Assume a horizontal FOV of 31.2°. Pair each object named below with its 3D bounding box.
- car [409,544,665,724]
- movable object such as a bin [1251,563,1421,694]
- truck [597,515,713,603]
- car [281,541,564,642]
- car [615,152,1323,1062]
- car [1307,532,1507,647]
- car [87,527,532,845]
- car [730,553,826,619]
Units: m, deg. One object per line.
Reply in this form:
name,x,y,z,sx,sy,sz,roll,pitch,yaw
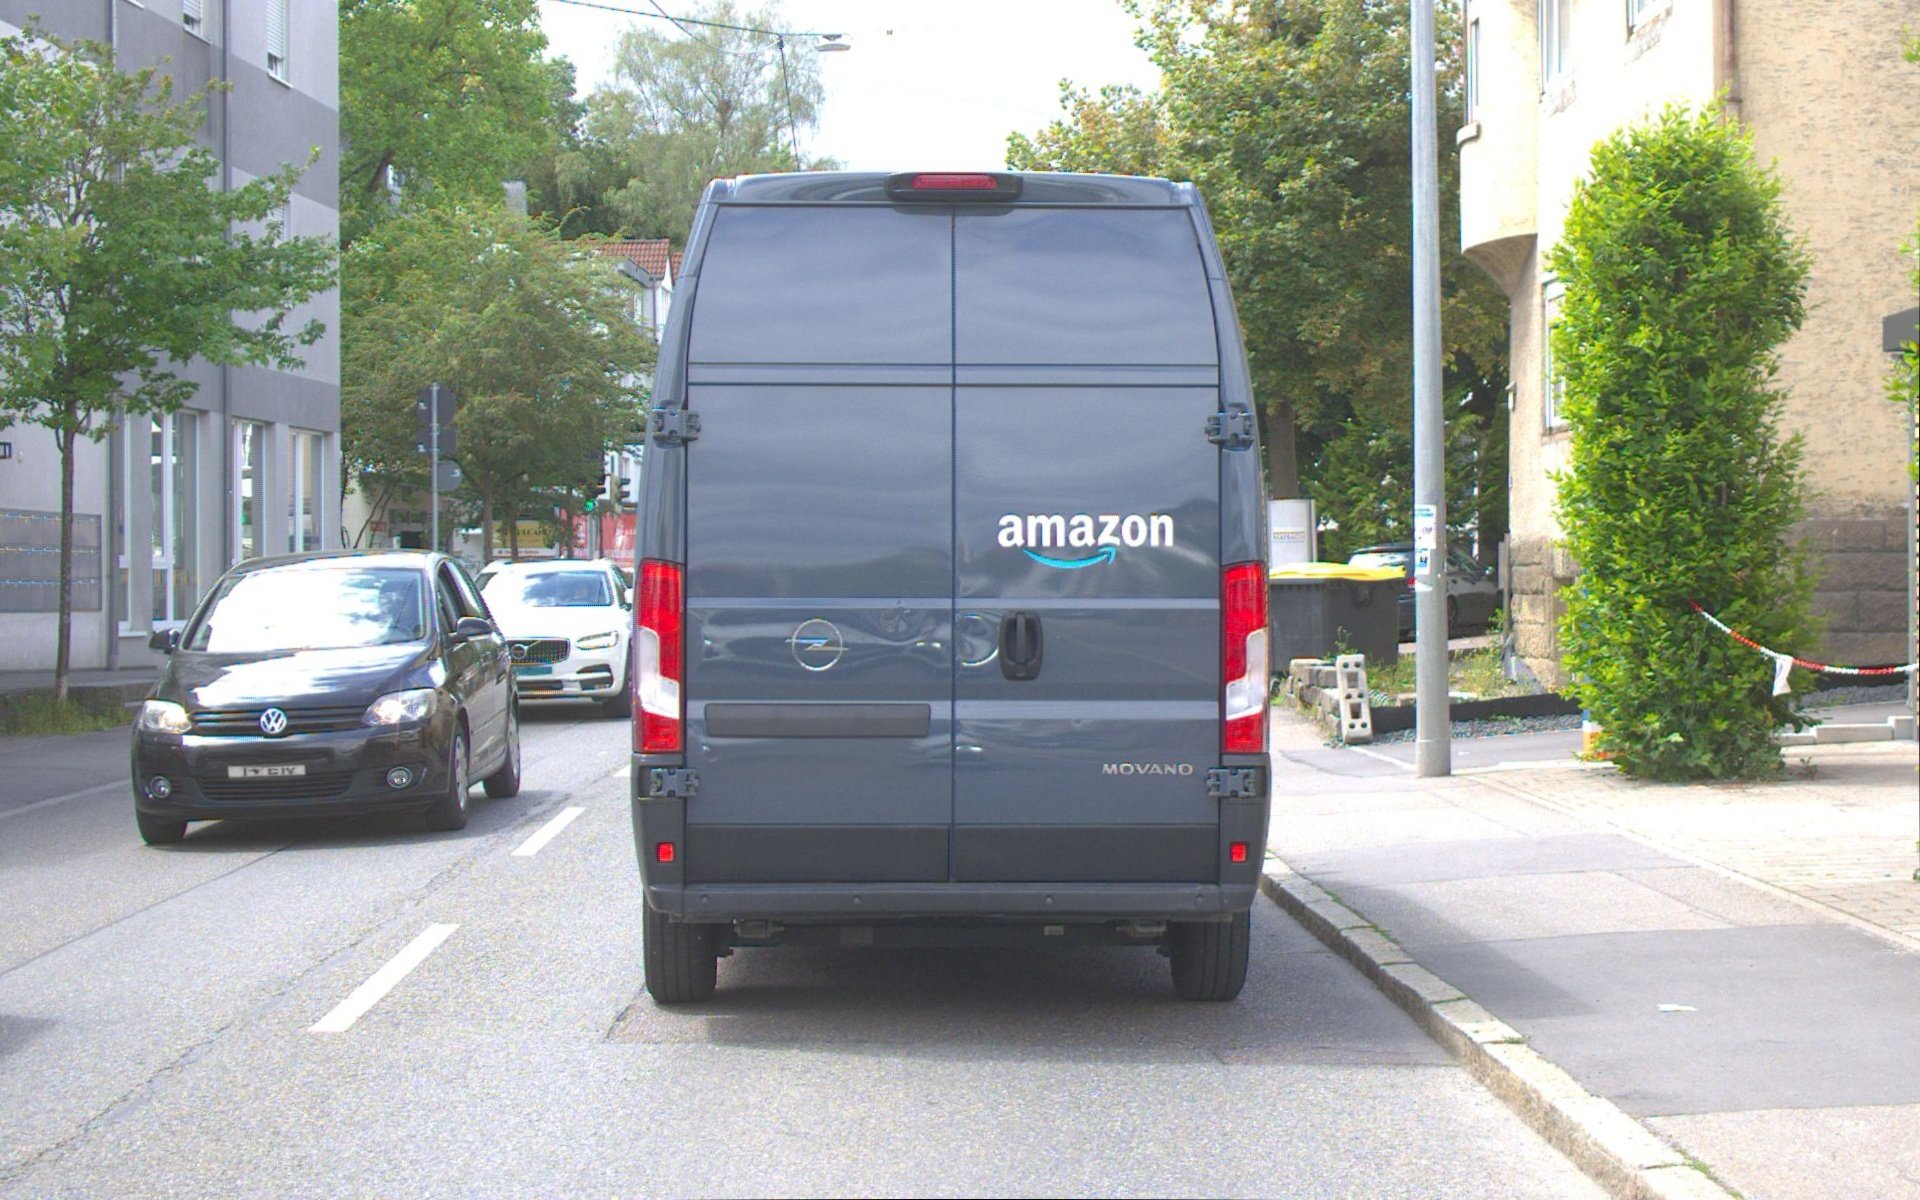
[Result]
car,-4.038,0.274,33.553,1.897,1.554,4.801,-3,1,-1
movable object such as a bin,3.708,0.266,33.958,1.182,1.261,1.210,0,1,-30
truck,-8.486,-1.119,96.139,2.225,2.372,6.325,1,0,4
car,-8.568,-0.147,55.012,4.212,1.508,1.822,1,2,1
car,-0.094,-0.016,13.601,2.147,2.761,6.250,0,1,-2
car,6.826,-0.180,52.134,1.754,1.512,4.074,-3,1,26
car,-3.598,0.413,19.720,1.832,1.579,4.038,-2,1,-1
car,-4.062,-0.340,77.326,1.874,1.419,4.115,1,1,1
